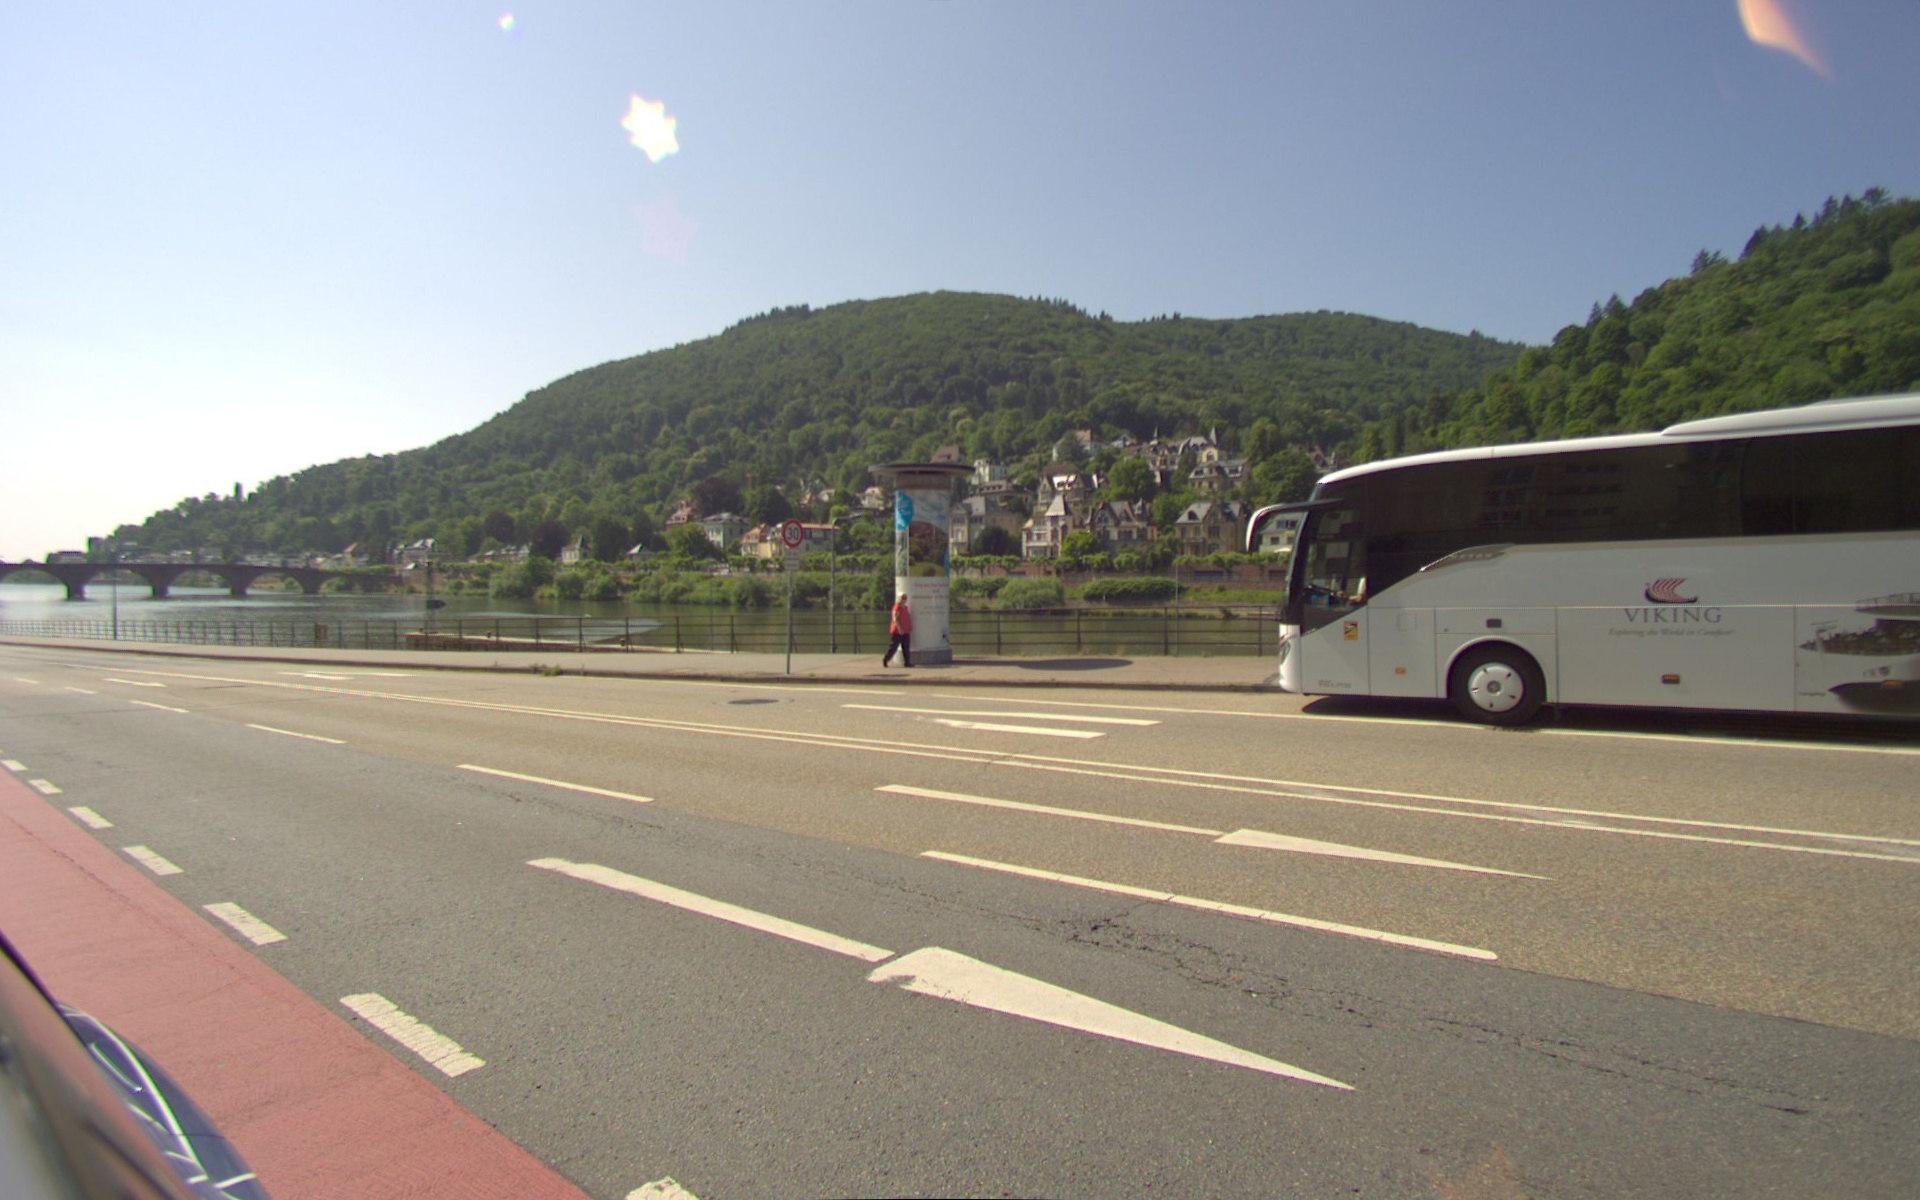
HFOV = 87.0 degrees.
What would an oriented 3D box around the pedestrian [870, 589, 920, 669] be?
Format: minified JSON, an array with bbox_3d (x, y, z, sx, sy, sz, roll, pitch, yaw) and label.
[{"bbox_3d":[-1.371,0.599,21.418,0.813,1.633,0.698,-1,0,28],"label":"pedestrian"}]

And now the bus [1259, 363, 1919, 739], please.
[{"bbox_3d":[10.489,-0.575,11.561,13.206,3.828,2.933,-1,3,34],"label":"bus"}]
